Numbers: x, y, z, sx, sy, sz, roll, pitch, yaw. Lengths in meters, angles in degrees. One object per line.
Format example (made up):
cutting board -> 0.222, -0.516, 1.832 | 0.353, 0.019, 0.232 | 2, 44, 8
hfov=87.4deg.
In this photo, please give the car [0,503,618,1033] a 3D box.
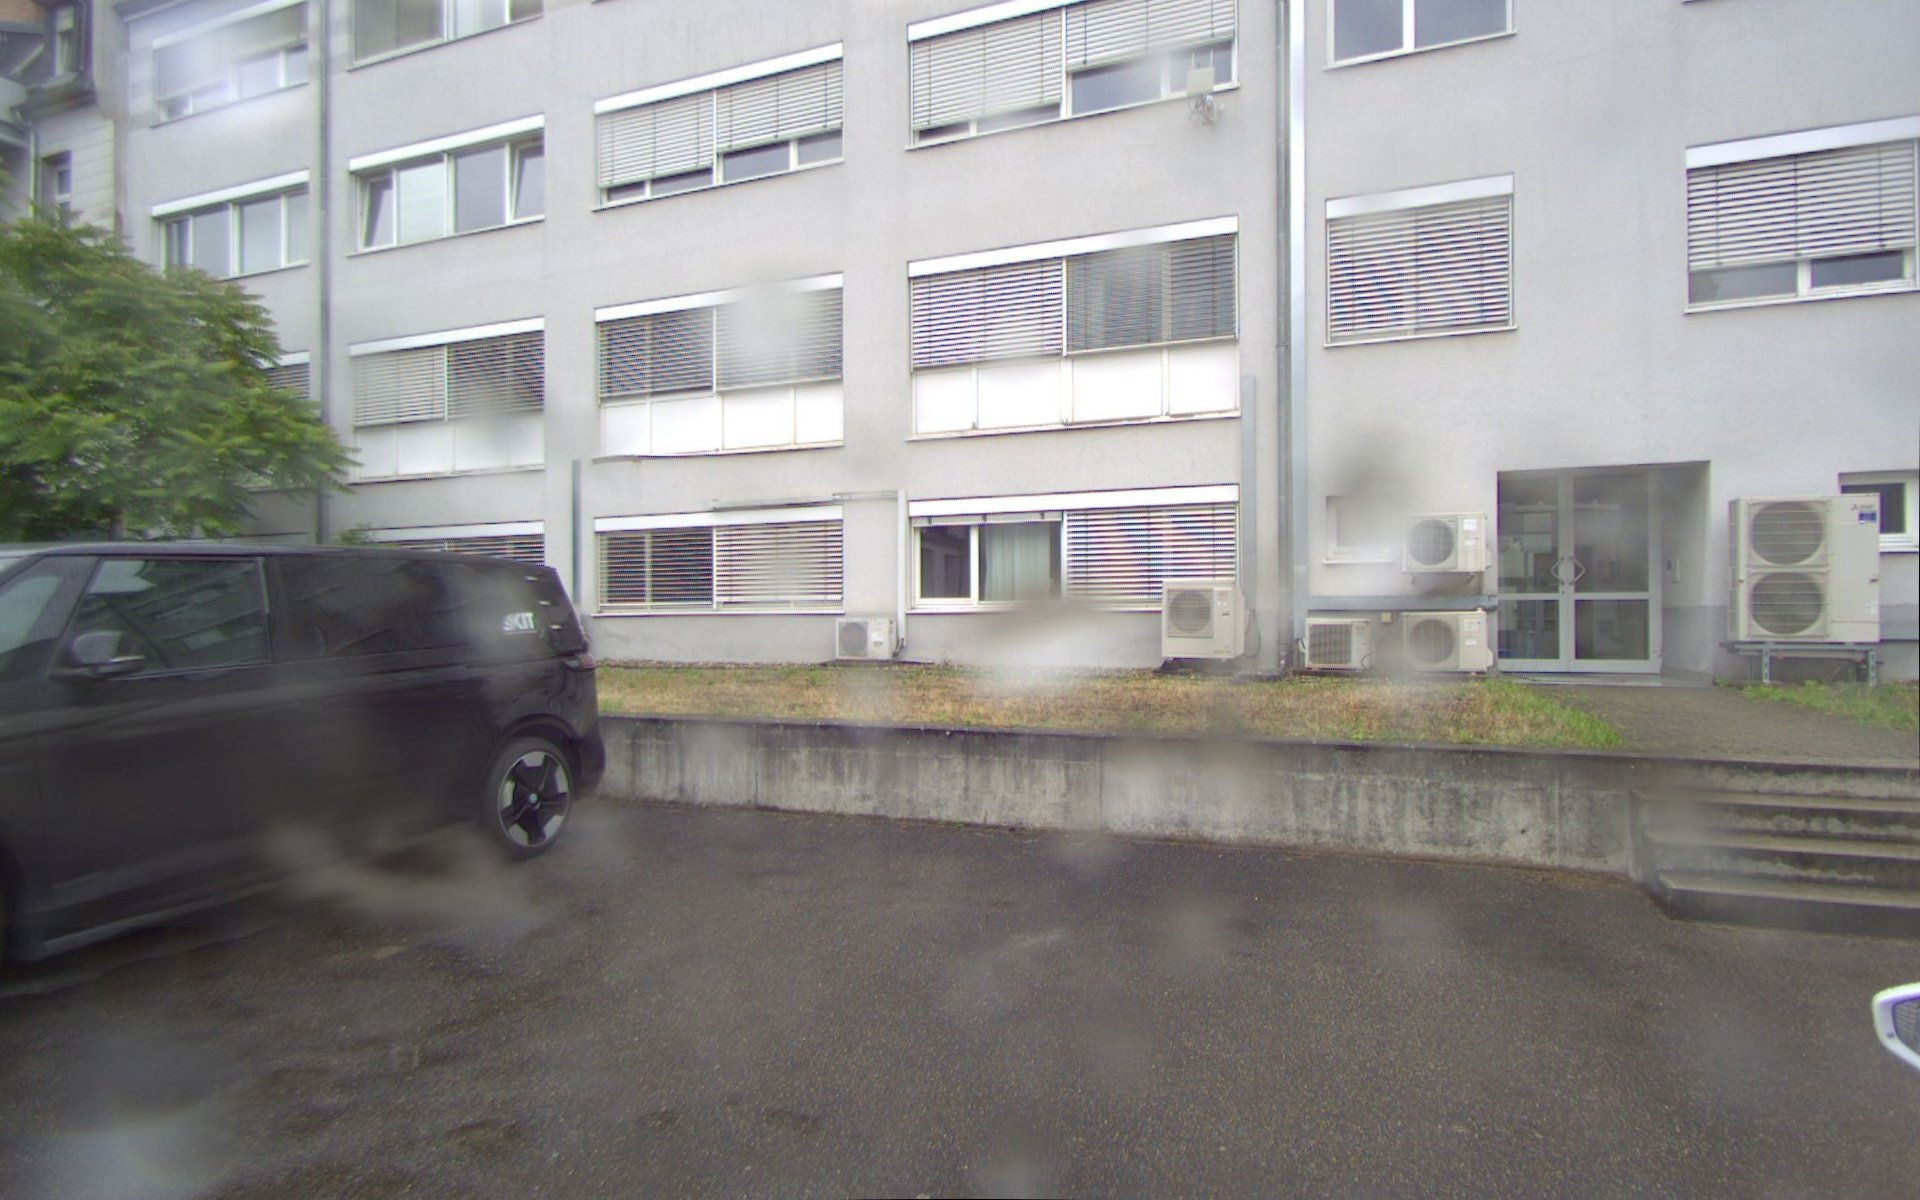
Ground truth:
car -> -4.052, 0.645, 5.100 | 2.006, 1.922, 4.523 | -1, -1, 19
